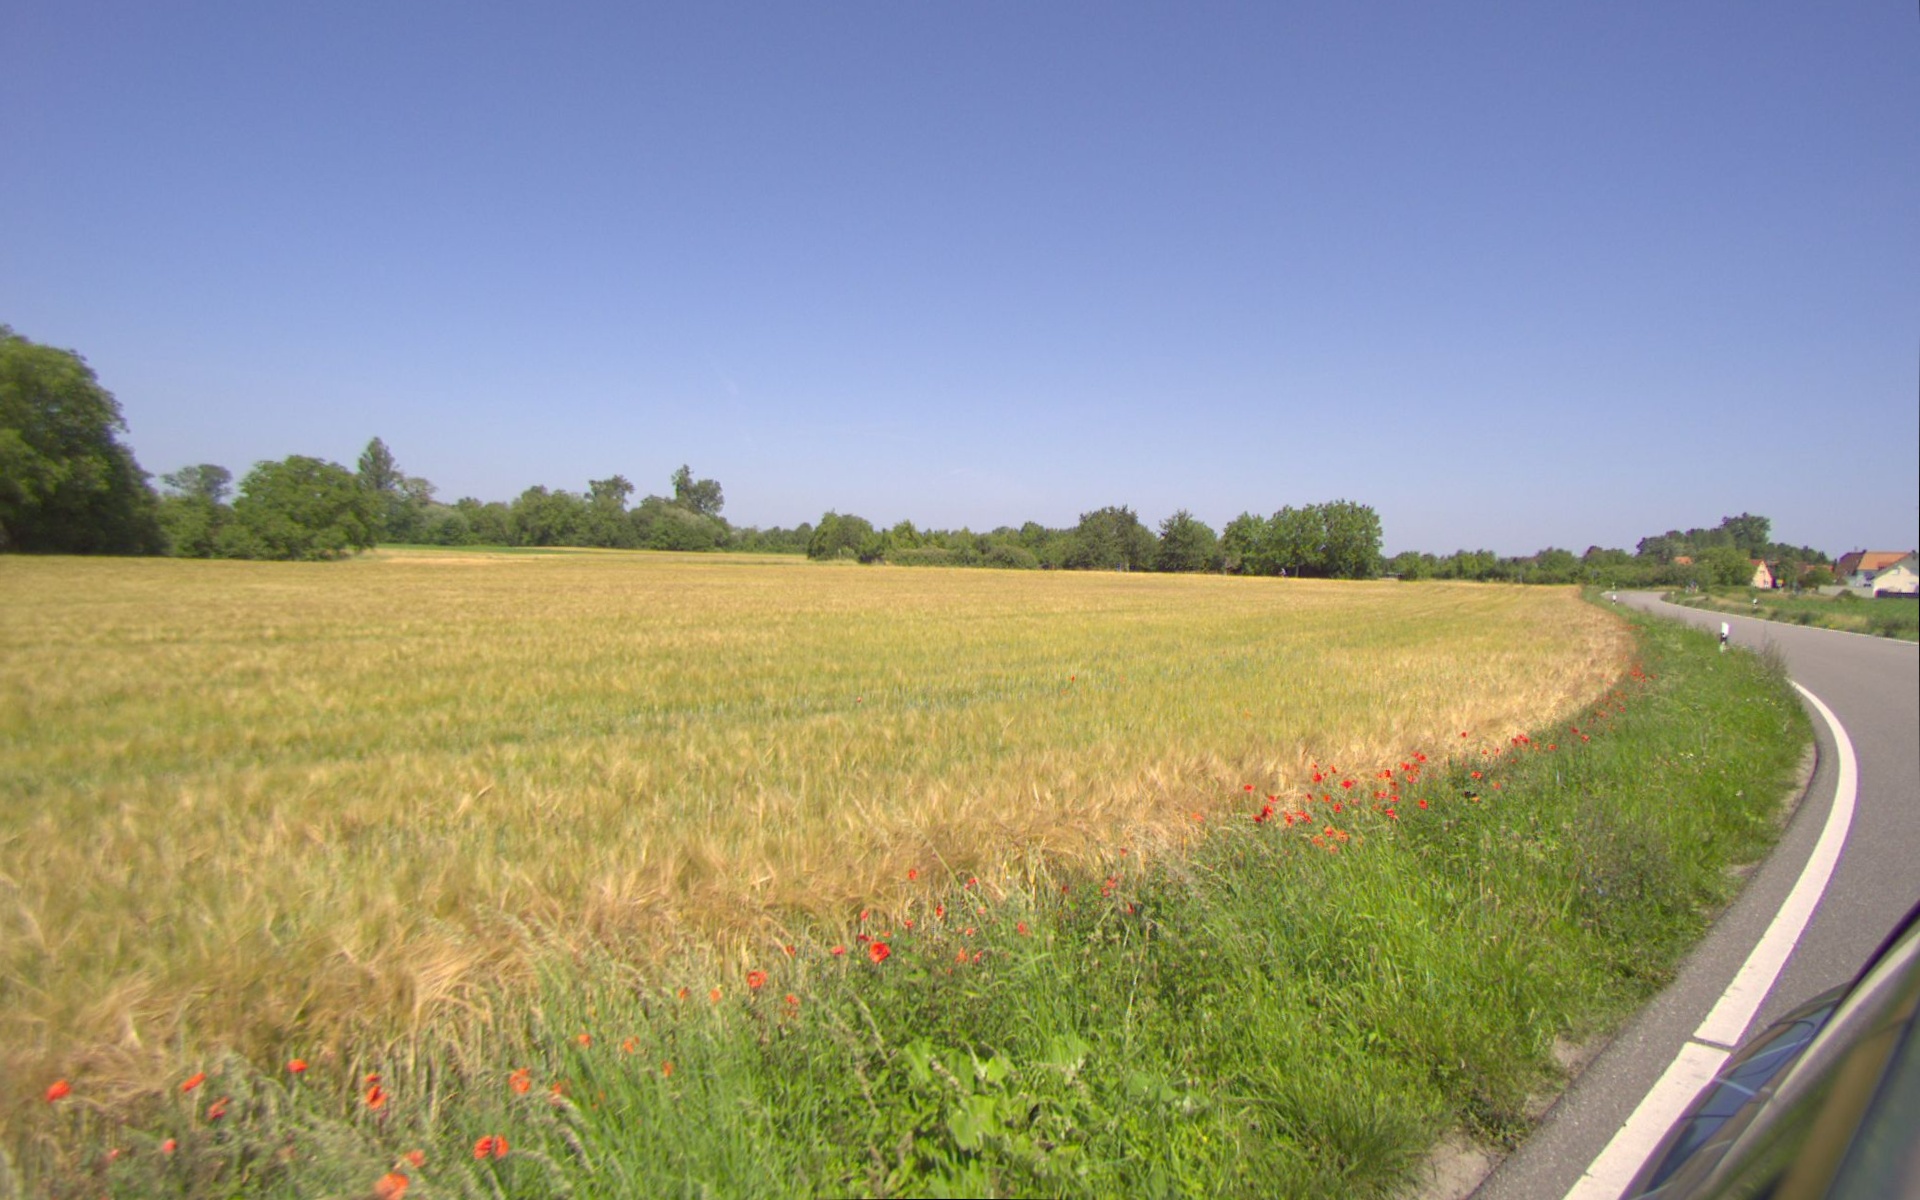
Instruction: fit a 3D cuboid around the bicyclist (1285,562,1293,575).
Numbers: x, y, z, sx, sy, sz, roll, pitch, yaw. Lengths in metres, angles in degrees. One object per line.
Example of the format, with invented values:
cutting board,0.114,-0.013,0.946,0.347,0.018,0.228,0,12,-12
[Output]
bicyclist,41.218,-3.961,126.734,0.721,1.593,0.675,2,2,-3
